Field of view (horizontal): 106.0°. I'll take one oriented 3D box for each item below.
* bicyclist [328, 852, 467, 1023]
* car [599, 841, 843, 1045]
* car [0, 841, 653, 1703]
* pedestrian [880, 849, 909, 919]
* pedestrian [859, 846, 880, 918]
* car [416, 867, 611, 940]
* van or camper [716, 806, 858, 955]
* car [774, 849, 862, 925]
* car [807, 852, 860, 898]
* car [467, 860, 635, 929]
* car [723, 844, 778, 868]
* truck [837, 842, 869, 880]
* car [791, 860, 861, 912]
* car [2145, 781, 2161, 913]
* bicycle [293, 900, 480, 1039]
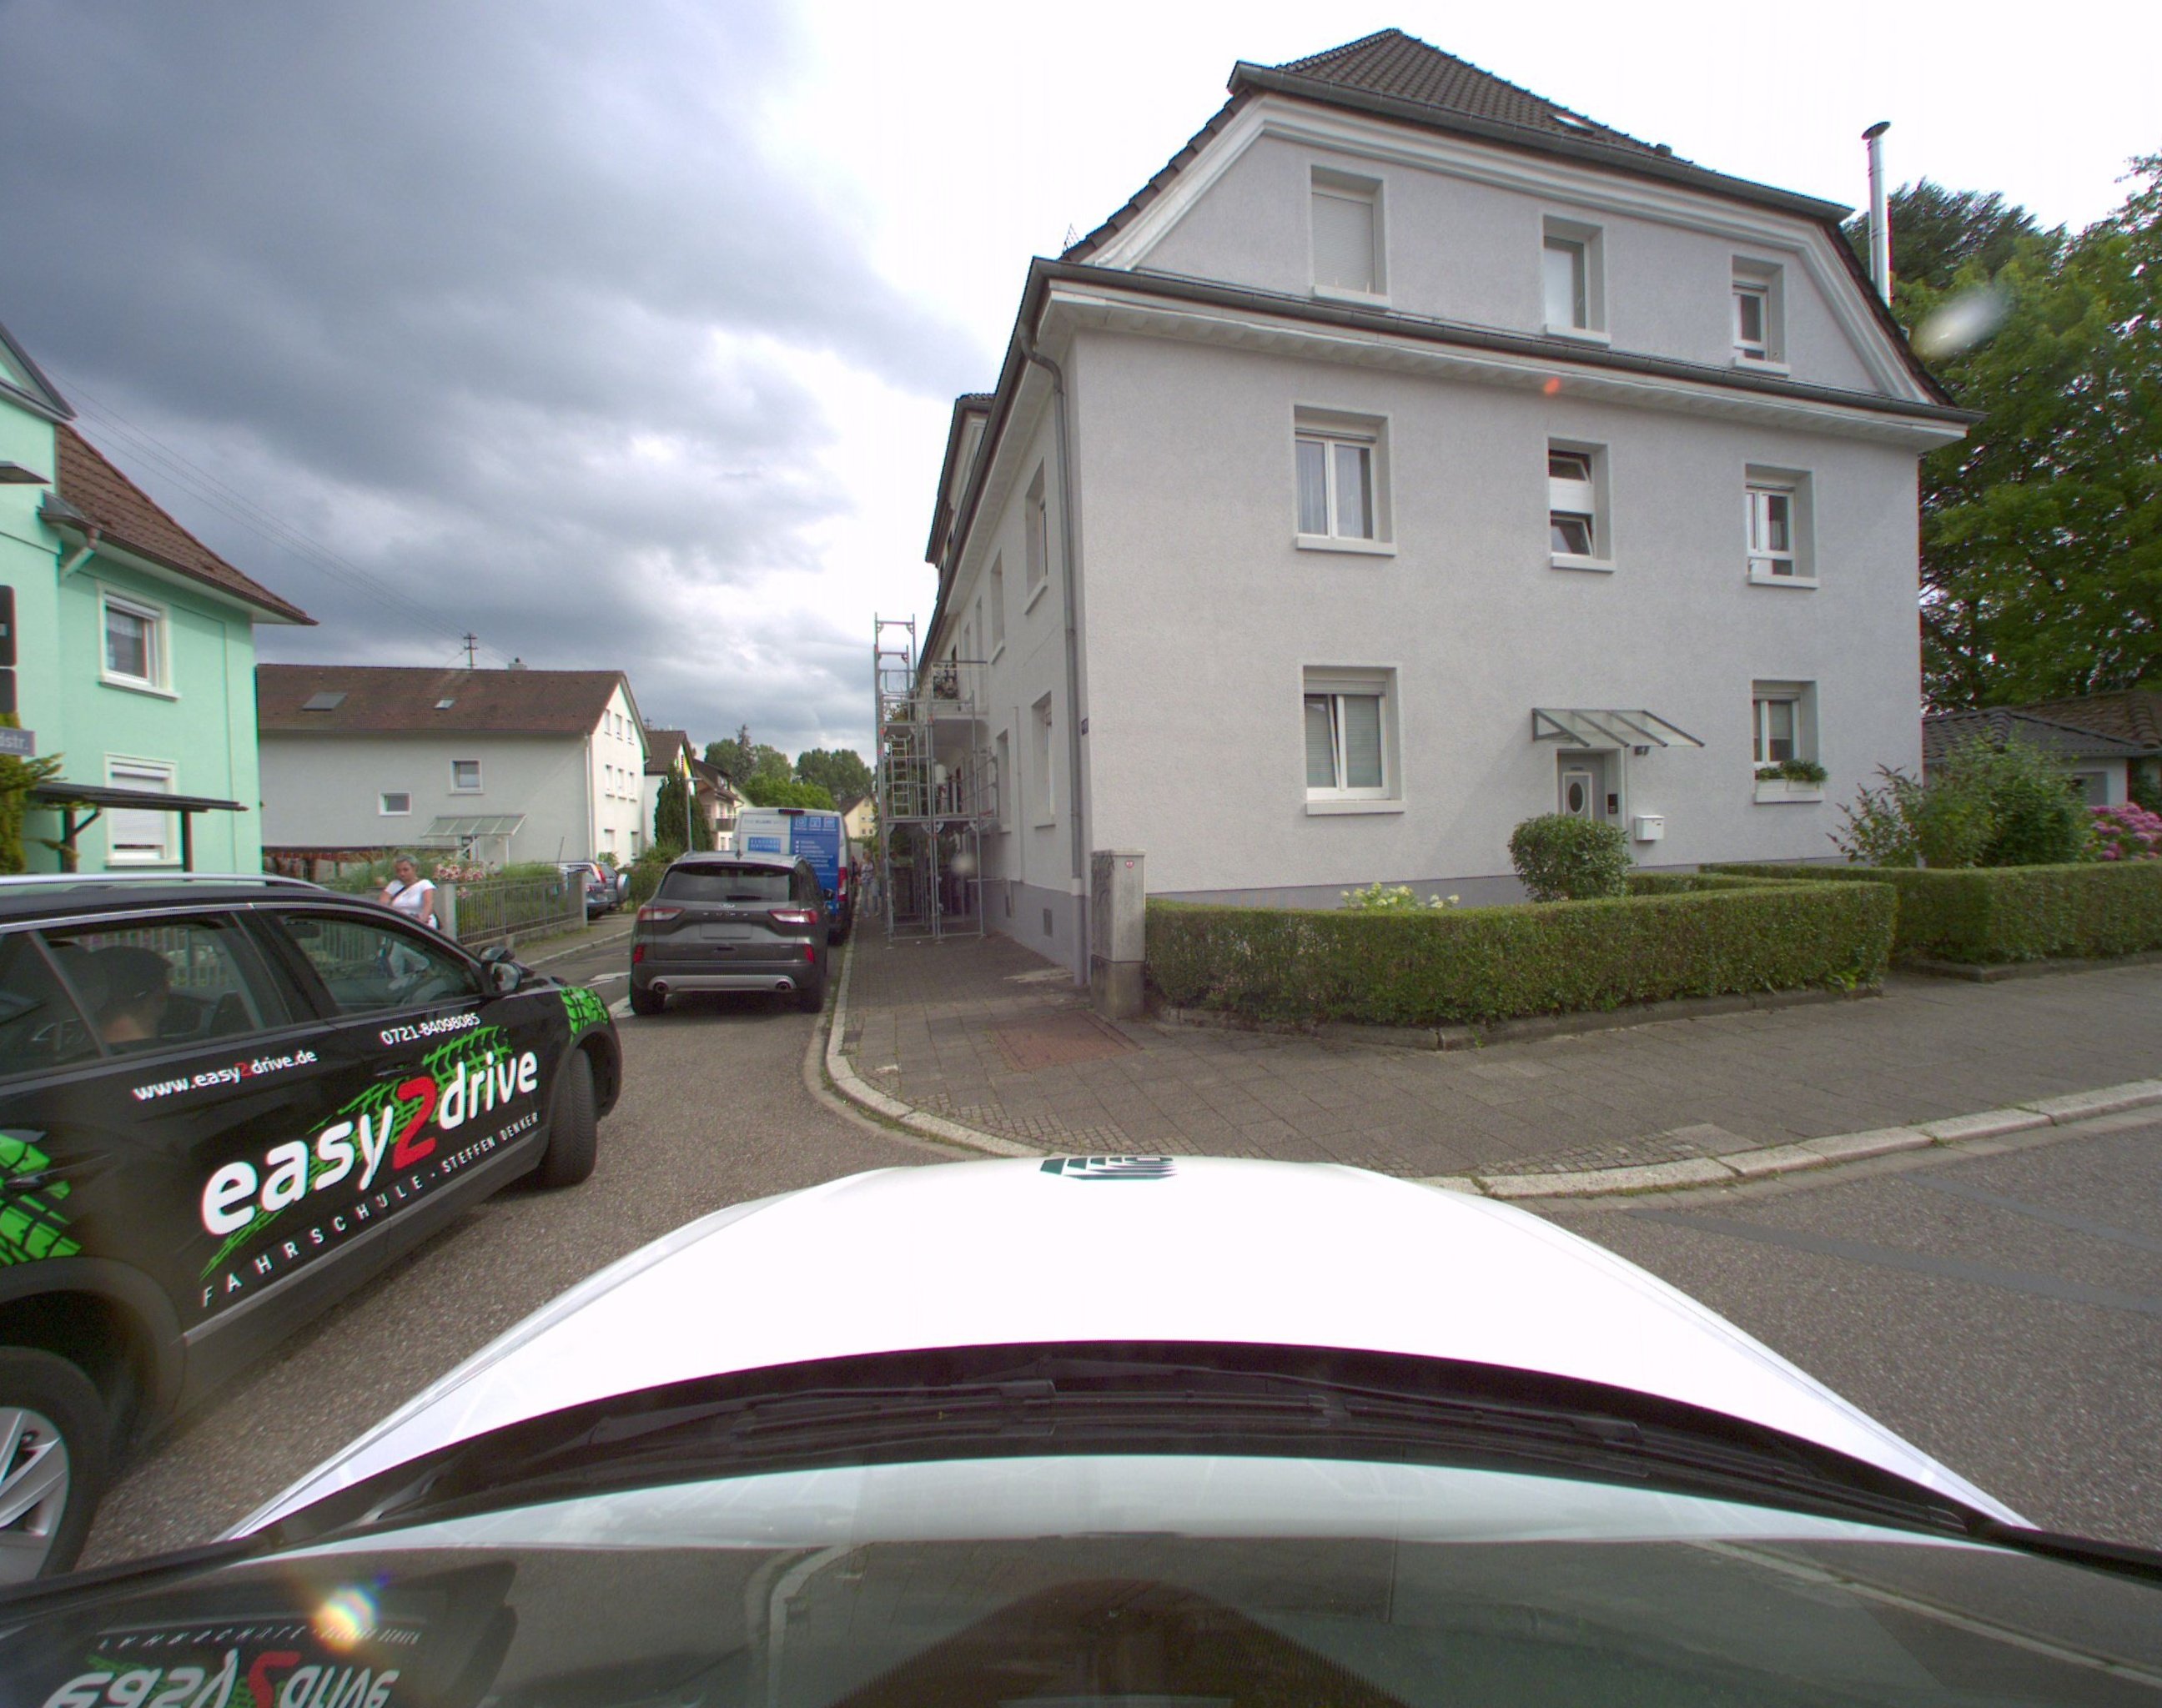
[{"bbox_3d":[-7.256,0.841,8.703,0.697,1.666,0.970,-4,0,-14],"label":"bicyclist"},{"bbox_3d":[-3.895,0.780,9.543,1.999,1.726,4.316,-2,1,-17],"label":"car"},{"bbox_3d":[-3.036,0.779,2.549,1.816,1.520,4.029,-2,-1,-10],"label":"car"},{"bbox_3d":[-4.477,0.715,19.532,0.602,1.629,0.622,-2,-1,-14],"label":"pedestrian"},{"bbox_3d":[-5.253,0.690,20.227,0.409,1.762,0.510,-2,-1,-18],"label":"pedestrian"},{"bbox_3d":[-13.857,1.170,20.110,3.582,1.500,1.577,-3,0,-19],"label":"car"},{"bbox_3d":[-5.712,0.419,16.472,2.196,2.459,5.028,-2,1,-15],"label":"van or camper"},{"bbox_3d":[-7.107,0.788,22.181,1.999,1.772,4.316,-2,1,-17],"label":"car"},{"bbox_3d":[-10.591,0.853,34.841,1.999,1.749,4.316,-2,1,-17],"label":"car"},{"bbox_3d":[-14.684,1.083,22.769,3.582,1.667,1.577,-3,0,-19],"label":"car"},{"bbox_3d":[-27.254,0.205,67.325,3.998,1.772,1.858,-2,-1,-19],"label":"car"},{"bbox_3d":[-17.197,0.522,61.416,2.135,2.657,4.558,-2,1,-17],"label":"truck"},{"bbox_3d":[-8.432,1.001,27.037,1.999,1.455,4.316,-2,1,-17],"label":"car"},{"bbox_3d":[17.116,-0.173,10.935,3.992,1.837,1.991,-2,1,-14],"label":"car"},{"bbox_3d":[-7.220,1.136,8.600,0.706,1.152,1.863,-3,1,-15],"label":"bicycle"}]
